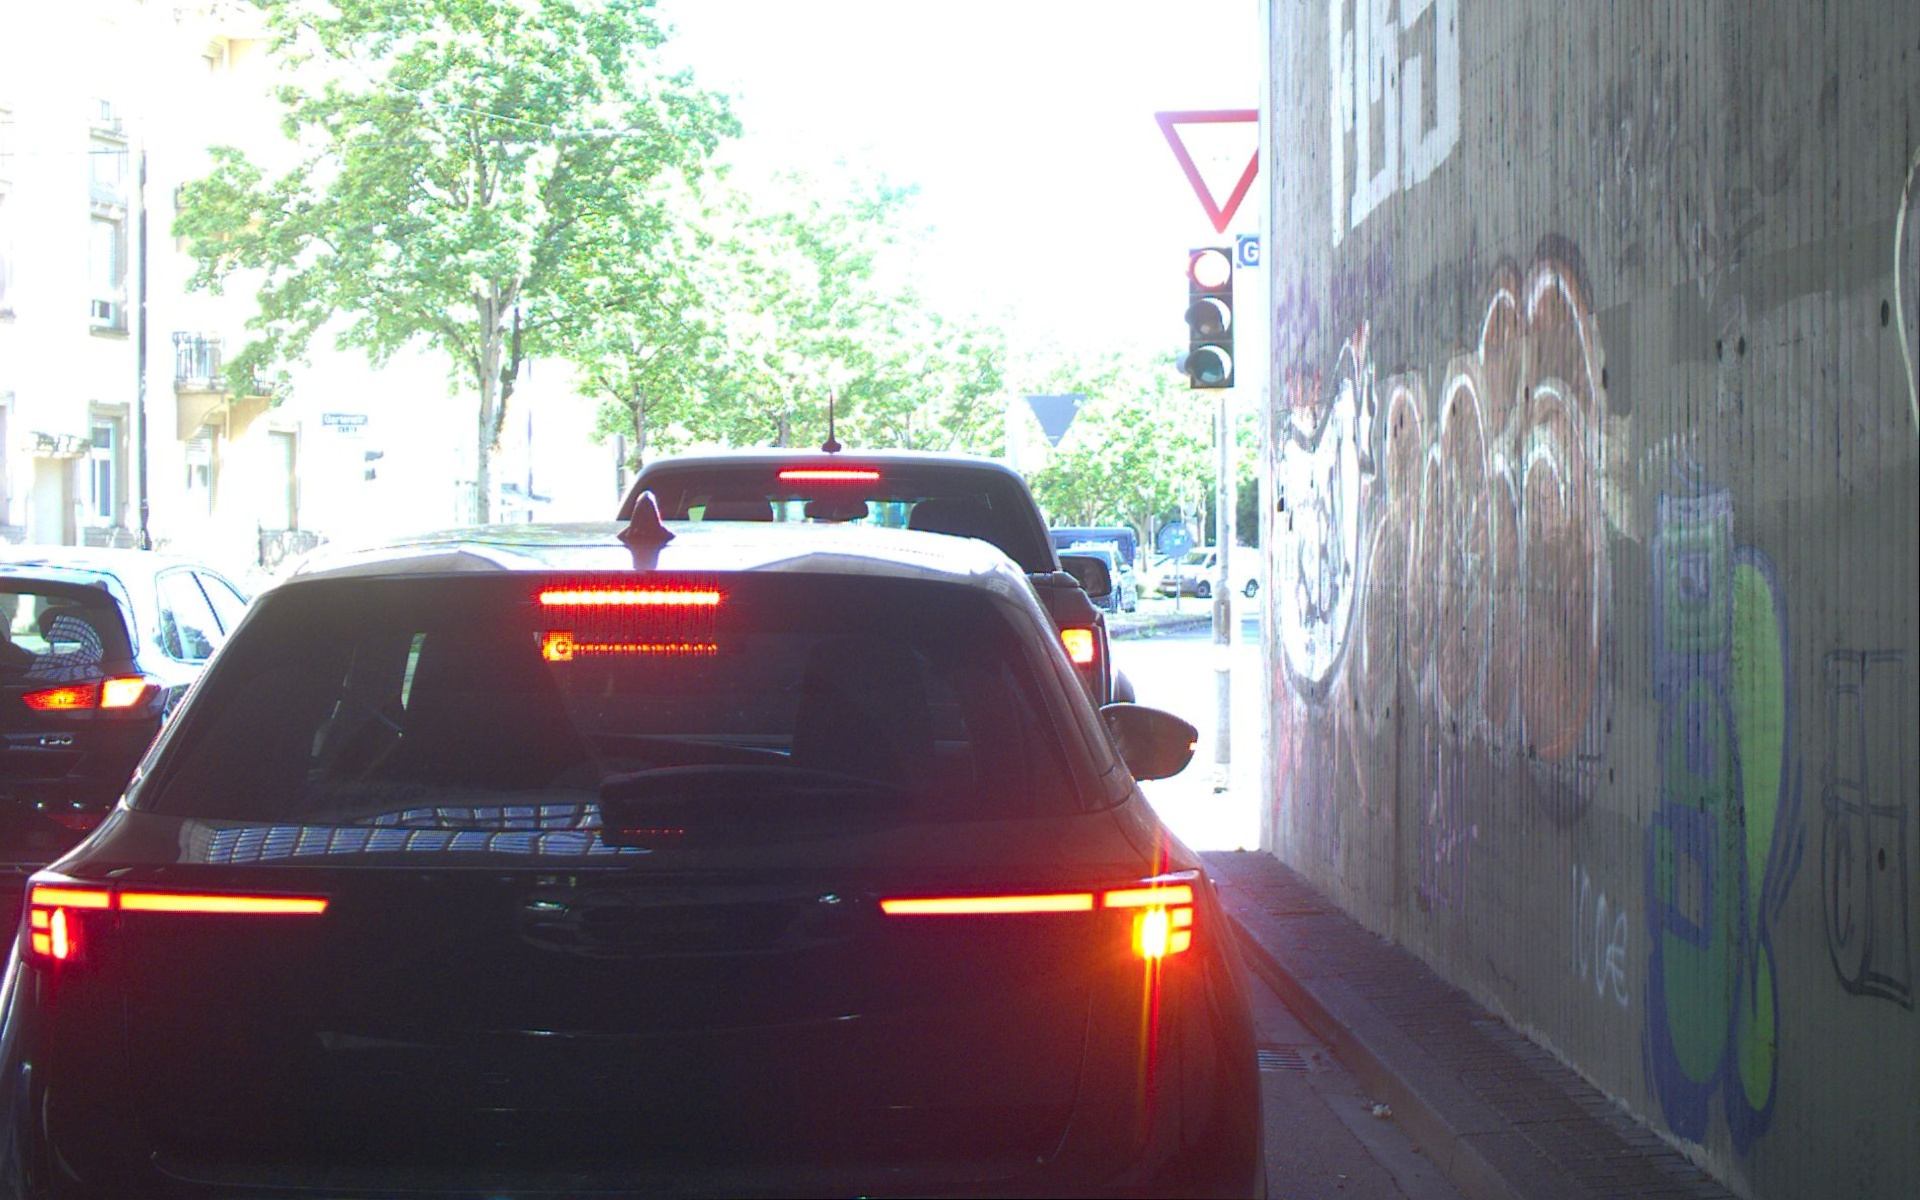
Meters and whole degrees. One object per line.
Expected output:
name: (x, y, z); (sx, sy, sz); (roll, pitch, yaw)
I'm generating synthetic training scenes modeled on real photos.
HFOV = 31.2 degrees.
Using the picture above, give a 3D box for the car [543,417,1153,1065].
car: (-0.348, 0.375, 12.036); (1.762, 1.876, 4.146); (0, 1, -1)

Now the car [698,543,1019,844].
car: (-0.532, 0.437, 19.255); (1.609, 1.508, 4.054); (0, 1, -1)

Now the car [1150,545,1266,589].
car: (9.760, -1.288, 135.074); (1.822, 1.661, 4.803); (1, 1, 45)

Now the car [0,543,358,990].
car: (-3.525, 0.520, 13.284); (1.762, 1.475, 3.844); (0, 1, -1)

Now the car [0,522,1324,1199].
car: (-0.477, 0.638, 6.095); (1.762, 1.526, 4.089); (0, 1, -1)

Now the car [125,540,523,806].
car: (-3.774, 0.373, 21.008); (1.762, 1.475, 3.844); (0, 1, -1)

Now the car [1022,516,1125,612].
car: (2.084, -0.657, 62.190); (1.754, 1.661, 3.944); (1, 1, 3)

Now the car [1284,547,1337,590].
car: (14.127, -1.262, 138.385); (1.754, 1.661, 3.943); (1, 1, 11)

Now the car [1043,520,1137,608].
car: (2.605, -0.711, 68.309); (1.754, 1.661, 3.944); (1, 1, 3)
